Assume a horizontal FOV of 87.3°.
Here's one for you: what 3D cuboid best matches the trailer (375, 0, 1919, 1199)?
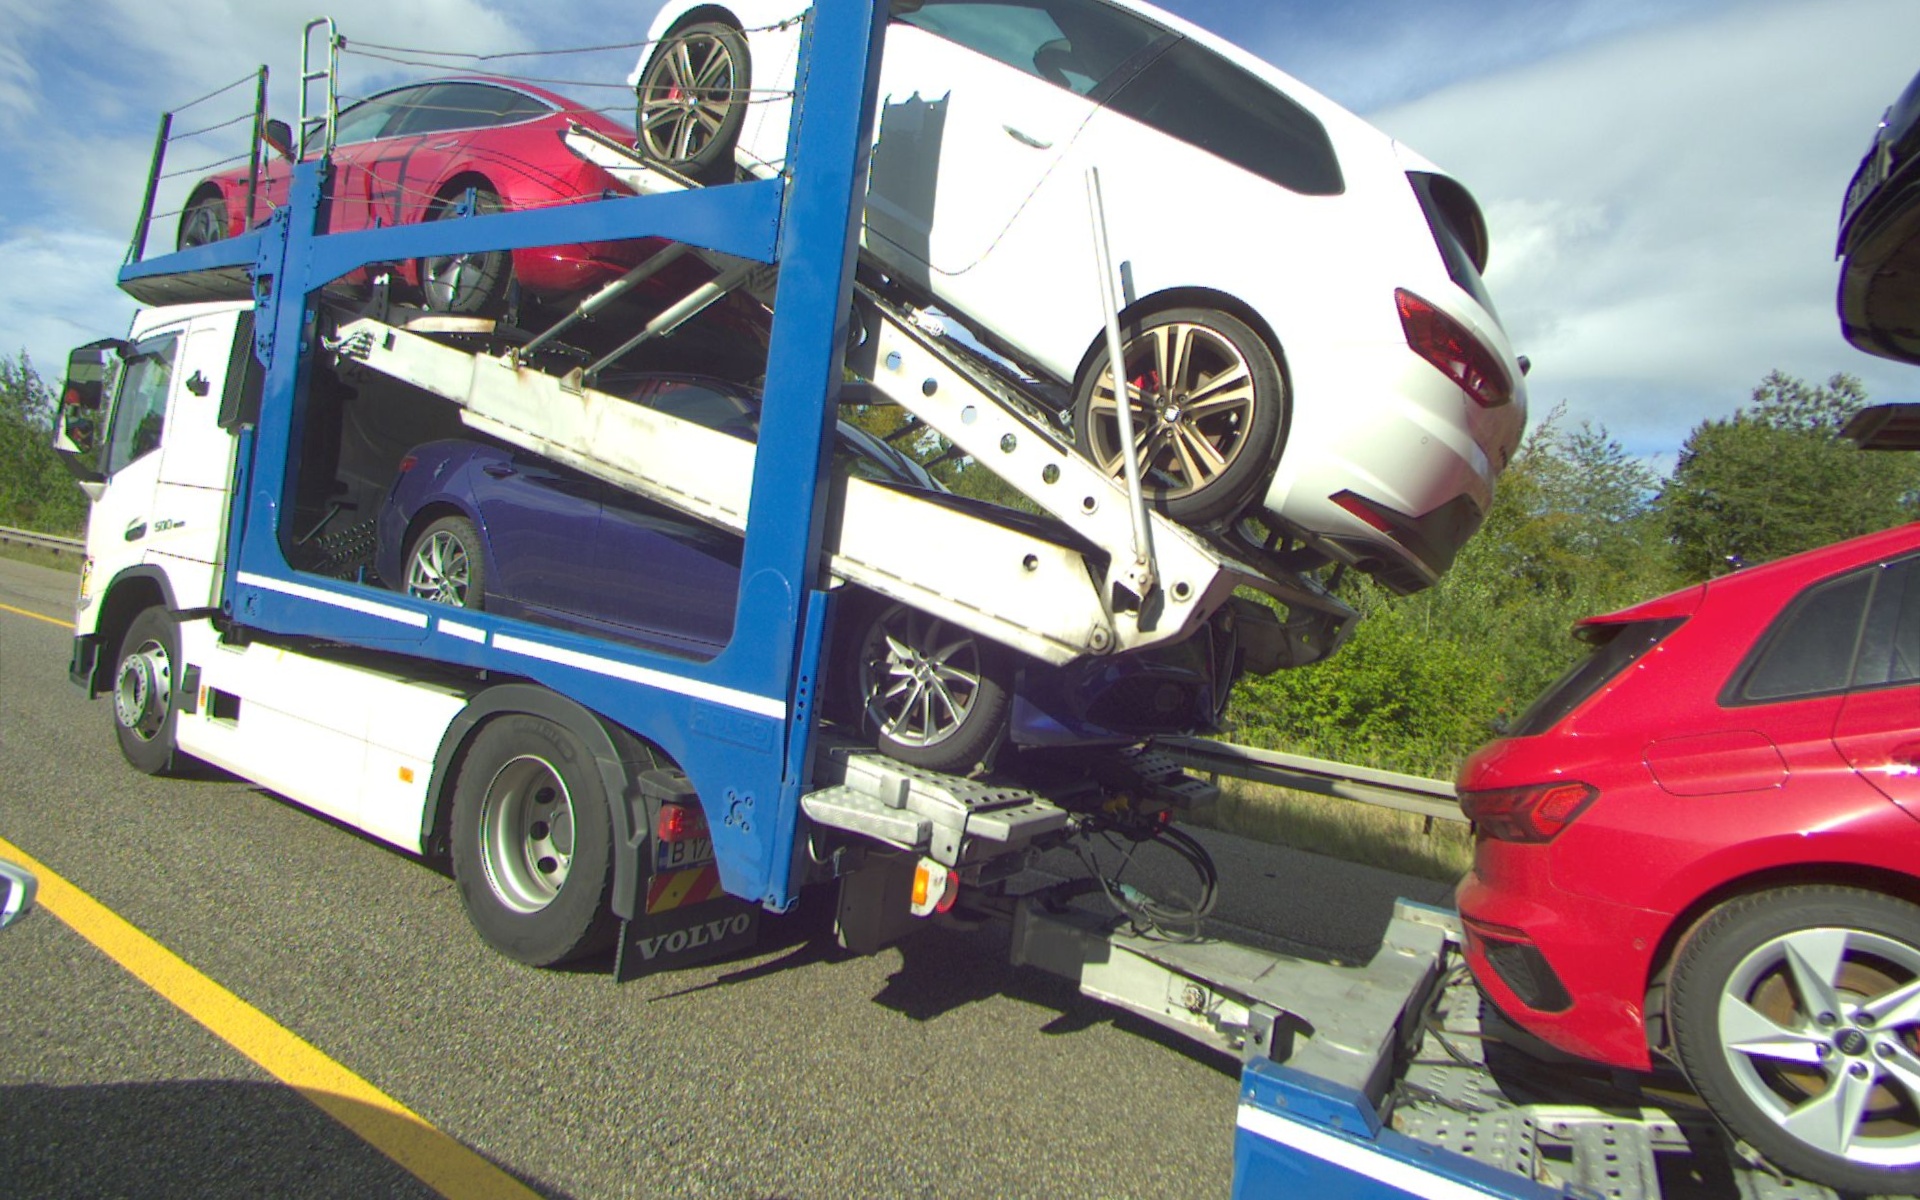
[{"bbox_3d":[5.581,0.048,1.457,15.959,4.245,3.733,6,-2,32],"label":"trailer"}]

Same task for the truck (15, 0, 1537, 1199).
[{"bbox_3d":[-1.419,-0.625,5.856,7.820,4.245,3.768,6,-2,32],"label":"truck"}]
